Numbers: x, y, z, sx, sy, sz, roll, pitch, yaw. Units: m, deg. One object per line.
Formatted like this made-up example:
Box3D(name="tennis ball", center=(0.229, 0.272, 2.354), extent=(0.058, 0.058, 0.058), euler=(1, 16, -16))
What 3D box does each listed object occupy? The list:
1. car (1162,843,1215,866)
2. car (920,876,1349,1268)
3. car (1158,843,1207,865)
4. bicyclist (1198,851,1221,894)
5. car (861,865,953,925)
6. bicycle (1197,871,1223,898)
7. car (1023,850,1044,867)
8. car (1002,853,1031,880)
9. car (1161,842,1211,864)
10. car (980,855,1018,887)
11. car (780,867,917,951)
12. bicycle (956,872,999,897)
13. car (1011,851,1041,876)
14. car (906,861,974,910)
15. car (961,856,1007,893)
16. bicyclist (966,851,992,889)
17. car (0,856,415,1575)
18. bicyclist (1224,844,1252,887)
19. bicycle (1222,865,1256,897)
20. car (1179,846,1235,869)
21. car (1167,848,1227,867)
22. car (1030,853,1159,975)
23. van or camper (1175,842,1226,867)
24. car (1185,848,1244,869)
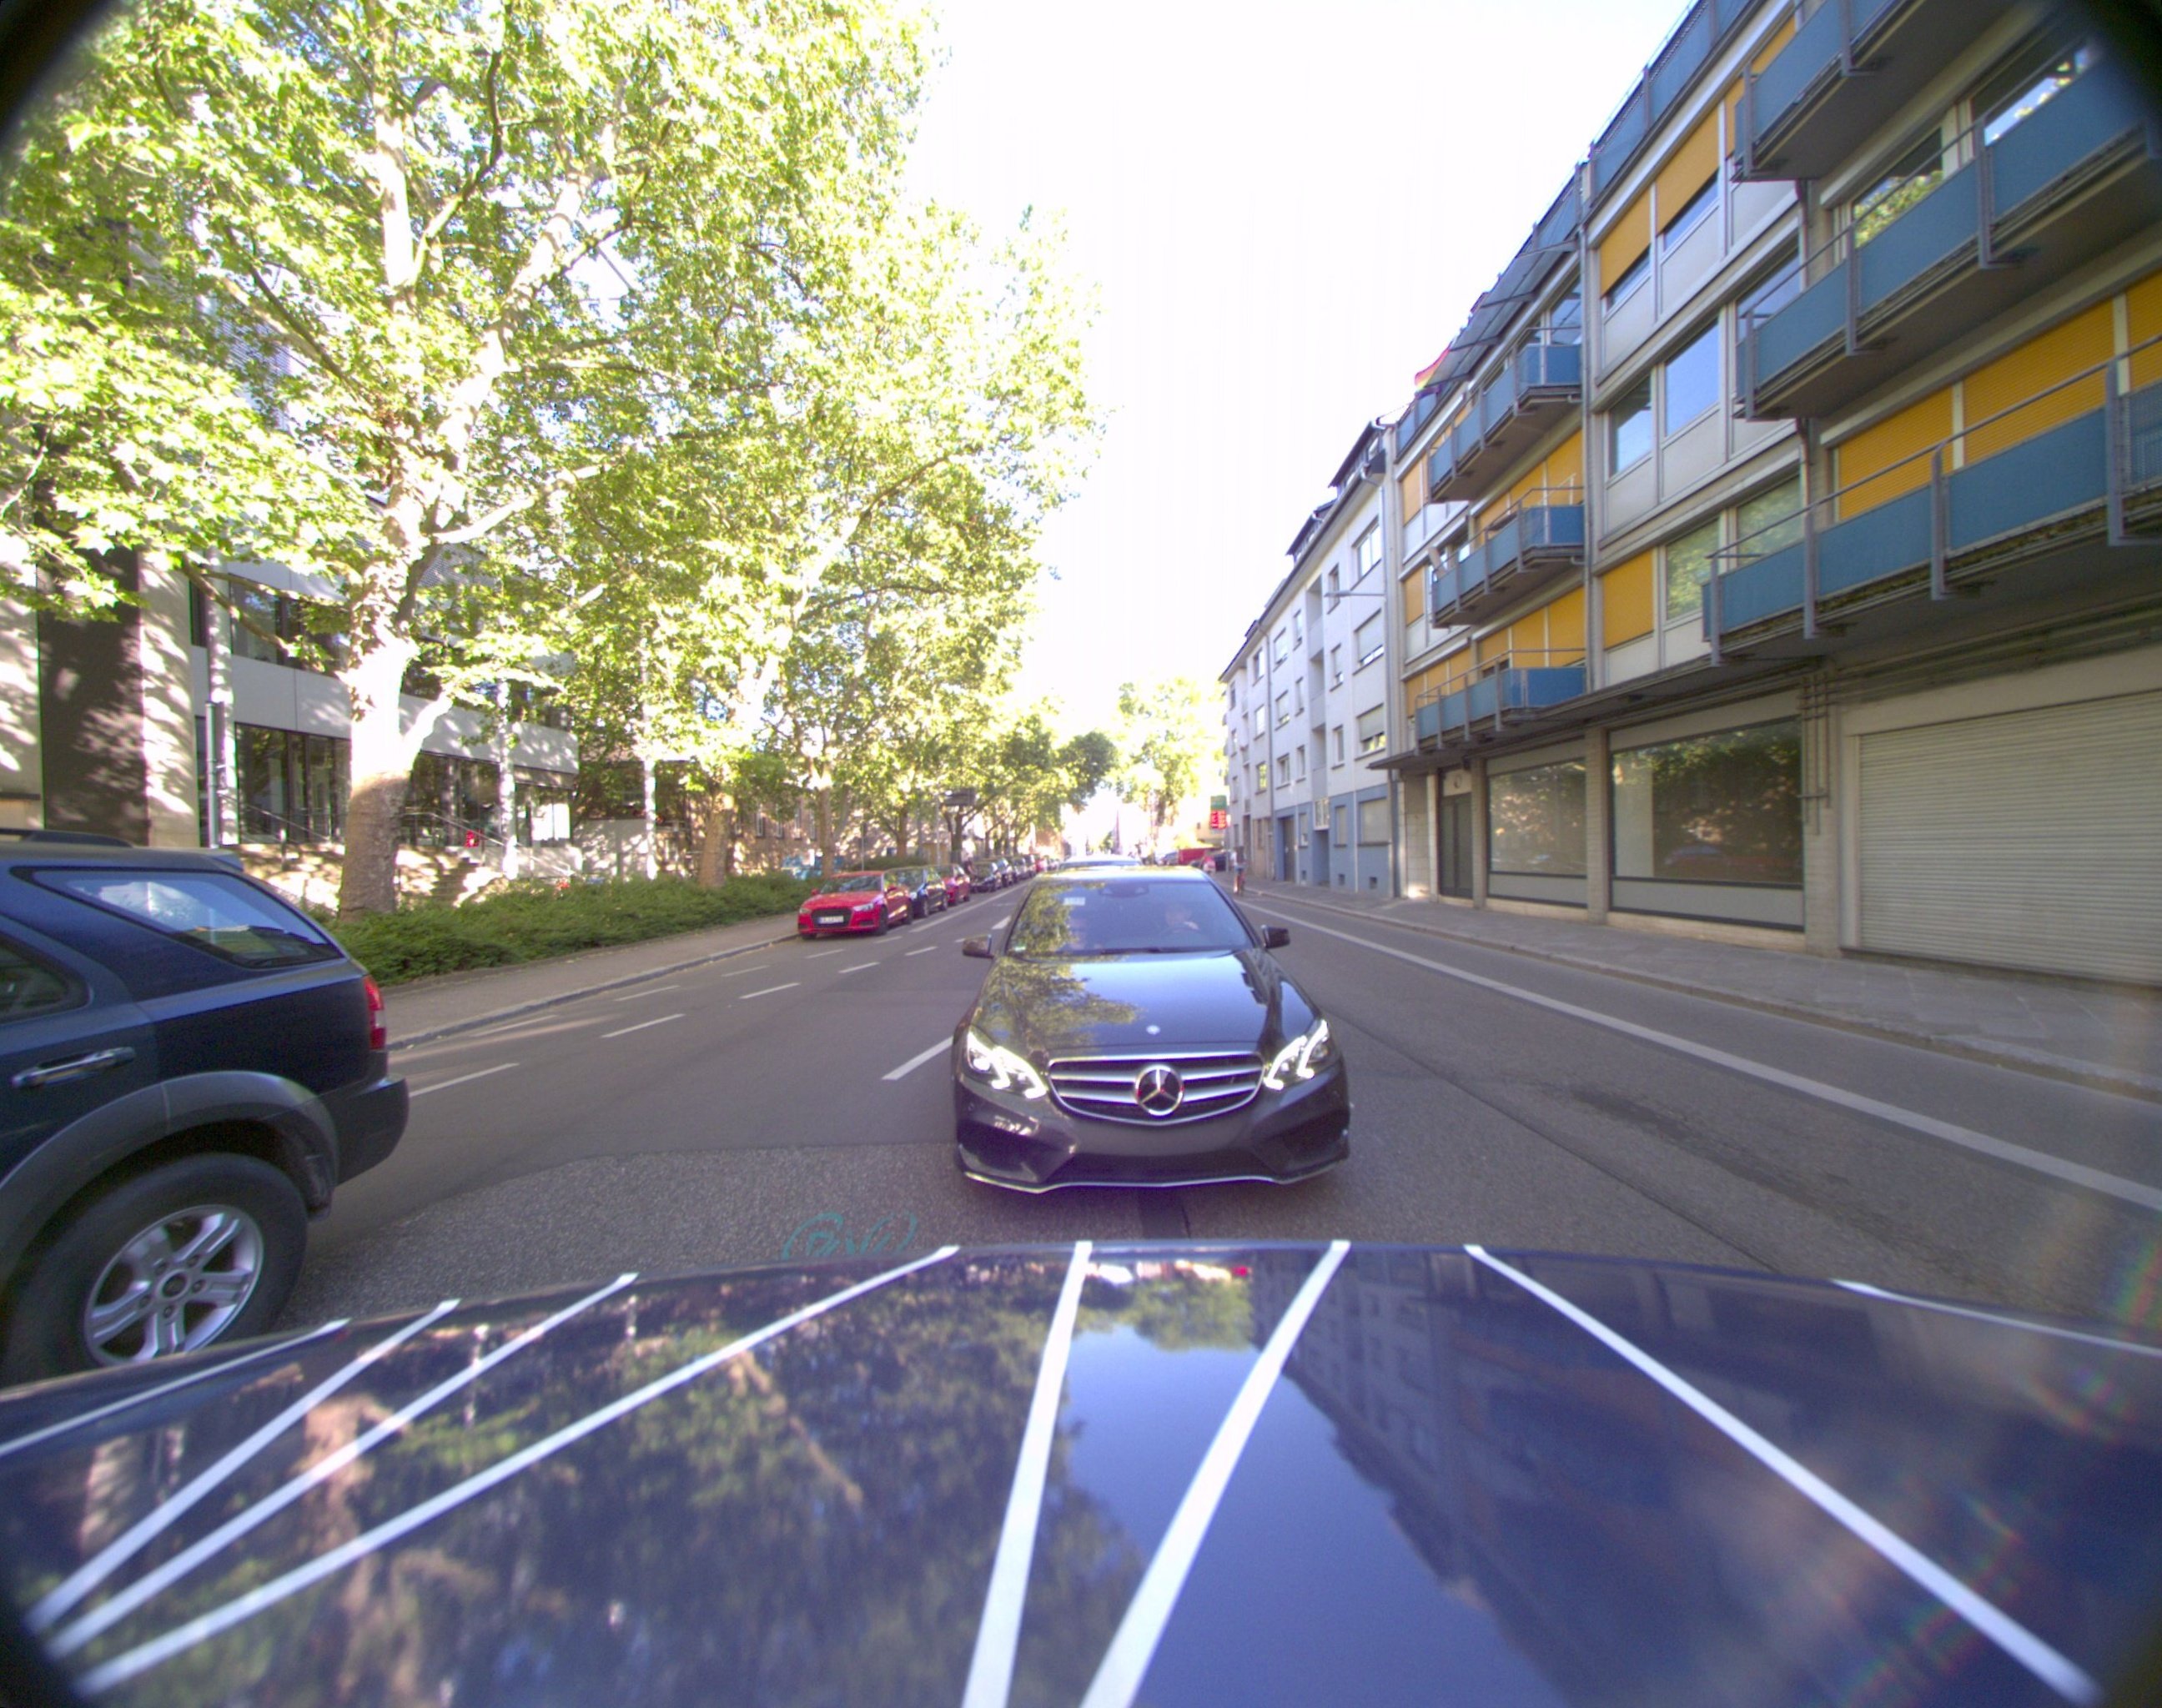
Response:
Box3D(name="car", center=(10.916, 0.021, 77.342), extent=(4.990, 2.181, 2.000), euler=(-2, 1, 1))
Box3D(name="car", center=(0.221, 0.962, 5.089), extent=(1.740, 1.448, 3.864), euler=(-2, 0, 0))
Box3D(name="car", center=(11.040, -0.013, 82.825), extent=(4.990, 2.181, 2.000), euler=(-2, 1, 1))
Box3D(name="bicyclist", center=(4.785, 0.664, 28.336), extent=(0.686, 1.569, 0.982), euler=(-2, 1, 2))
Box3D(name="car", center=(-5.058, 1.134, 22.648), extent=(1.741, 1.444, 4.091), euler=(-4, 0, 0))
Box3D(name="bicycle", center=(4.804, 1.116, 28.387), extent=(0.695, 0.924, 1.863), euler=(-2, 0, 3))
Box3D(name="car", center=(-4.381, 0.434, 70.448), extent=(1.741, 1.469, 4.091), euler=(-2, 0, 0))
Box3D(name="car", center=(-4.610, 0.865, 54.719), extent=(1.741, 1.785, 3.895), euler=(-2, 0, 0))
Box3D(name="car", center=(11.037, -0.106, 80.193), extent=(4.990, 2.181, 2.000), euler=(-2, 1, 1))
Box3D(name="car", center=(-4.527, 0.911, 42.411), extent=(1.634, 1.677, 3.907), euler=(-2, 0, 0))
Box3D(name="car", center=(-5.217, 1.173, 17.645), extent=(1.830, 1.519, 4.142), euler=(-4, 0, 0))
Box3D(name="bicycle", center=(-4.543, 1.331, 33.295), extent=(1.800, 1.009, 0.734), euler=(-2, 1, -10))
Box3D(name="car", center=(-4.276, 0.718, 59.852), extent=(1.992, 1.795, 4.376), euler=(-2, 0, 0))
Box3D(name="car", center=(-5.029, 1.088, 27.640), extent=(1.681, 1.484, 3.918), euler=(-4, 0, 0))
Box3D(name="car", center=(-4.716, 0.964, 37.394), extent=(1.741, 1.622, 4.091), euler=(-2, 0, 0))
Box3D(name="bicyclist", center=(-4.469, 0.684, 33.308), extent=(1.038, 1.610, 0.697), euler=(-2, 1, -10))
Box3D(name="car", center=(-3.629, 0.949, 0.808), extent=(1.785, 1.760, 4.384), euler=(-3, 0, 2))
Box3D(name="bicyclist", center=(5.799, 0.430, 28.105), extent=(0.844, 1.546, 0.839), euler=(-2, 1, 0))
Box3D(name="bicycle", center=(5.821, 0.991, 28.142), extent=(0.865, 1.072, 1.836), euler=(-2, 0, 1))
Box3D(name="car", center=(10.140, 0.265, 61.295), extent=(4.146, 1.681, 2.000), euler=(-2, 0, 1))
Box3D(name="car", center=(10.163, 0.280, 66.704), extent=(4.990, 1.486, 2.000), euler=(-2, 0, 1))
Box3D(name="car", center=(0.210, 0.808, 12.537), extent=(1.646, 1.520, 4.619), euler=(-4, 0, 1))
Box3D(name="van or camper", center=(10.061, 0.019, 64.201), extent=(3.997, 2.002, 2.000), euler=(-2, 1, 0))
Box3D(name="car", center=(10.316, 0.320, 58.964), extent=(4.146, 1.486, 2.000), euler=(-2, 0, 1))
